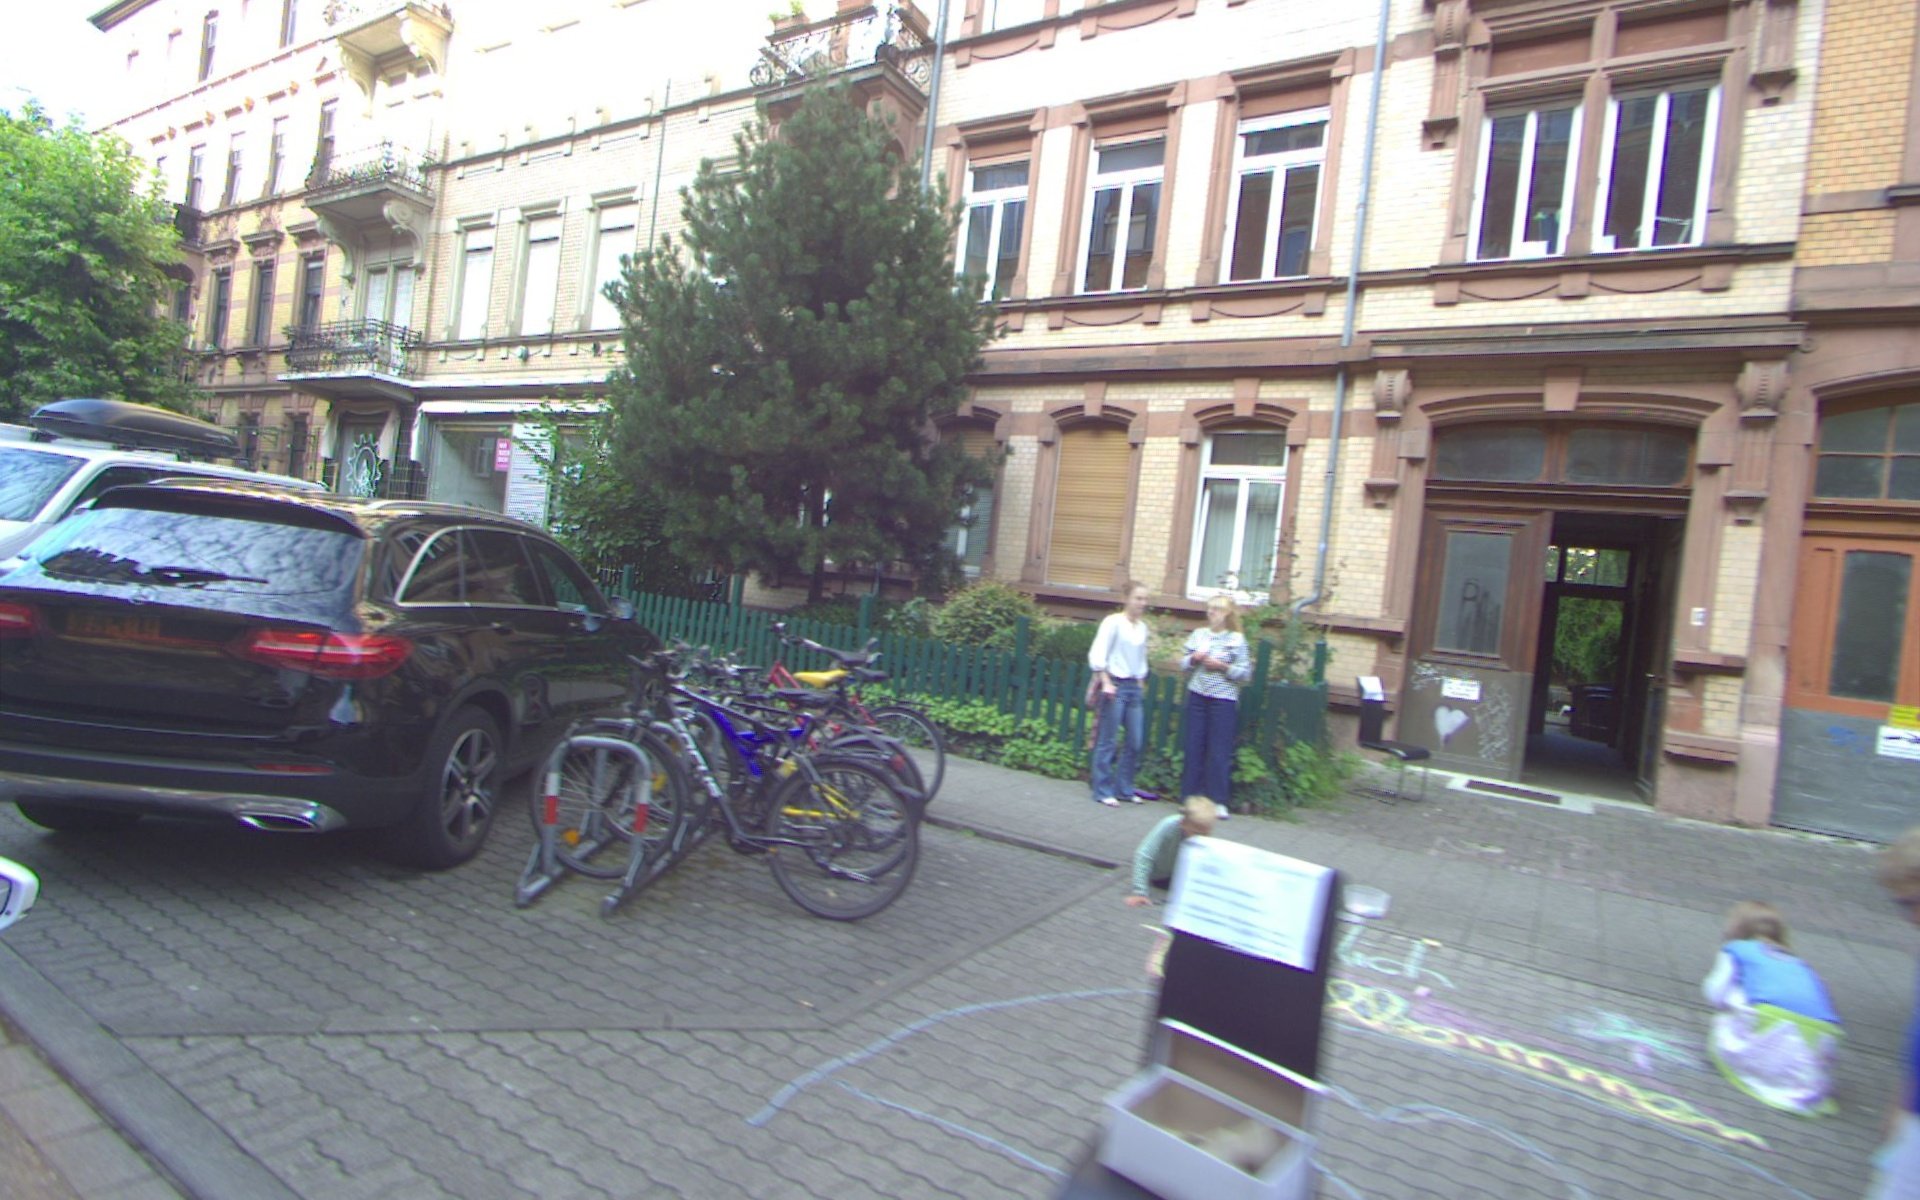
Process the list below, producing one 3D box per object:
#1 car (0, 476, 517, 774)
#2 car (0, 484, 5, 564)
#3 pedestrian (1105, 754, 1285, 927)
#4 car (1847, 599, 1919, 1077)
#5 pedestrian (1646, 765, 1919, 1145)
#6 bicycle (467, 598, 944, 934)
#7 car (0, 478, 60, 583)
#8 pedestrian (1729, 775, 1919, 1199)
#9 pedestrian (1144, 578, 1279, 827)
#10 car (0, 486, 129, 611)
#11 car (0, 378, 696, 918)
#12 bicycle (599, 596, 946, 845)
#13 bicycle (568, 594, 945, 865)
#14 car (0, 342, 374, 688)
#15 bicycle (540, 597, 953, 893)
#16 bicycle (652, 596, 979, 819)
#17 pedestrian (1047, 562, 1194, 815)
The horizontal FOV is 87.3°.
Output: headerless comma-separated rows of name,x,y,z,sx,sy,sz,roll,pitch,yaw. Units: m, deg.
car,-5.380,0.142,7.974,1.839,1.567,4.236,8,-1,-2
car,-17.234,-1.269,14.949,1.845,1.483,4.463,7,2,-2
pedestrian,1.185,1.187,5.119,0.485,0.672,0.691,4,2,-40
car,3.712,0.924,2.064,1.779,1.809,4.638,9,3,31
pedestrian,2.952,1.191,3.615,0.676,1.033,0.638,7,2,37
bicycle,-1.073,0.693,4.404,1.882,1.197,0.405,6,2,1
car,-14.814,-1.036,13.449,1.856,1.497,4.458,7,2,-7
pedestrian,1.993,1.048,2.005,0.499,1.269,0.471,5,4,8
pedestrian,1.842,0.728,7.353,0.622,1.679,0.574,7,0,32
car,-12.435,-0.704,12.218,1.721,1.478,3.986,6,1,-9
car,-3.106,0.184,5.826,1.964,1.753,4.457,8,-1,-2
bicycle,-1.061,0.678,5.858,1.833,1.197,0.405,6,2,1
bicycle,-1.063,0.670,5.404,1.833,1.197,0.405,6,2,1
car,-7.734,-0.693,8.931,1.882,2.436,5.157,6,0,-1
bicycle,-1.015,0.683,4.953,1.833,1.197,0.405,6,2,1
bicycle,-0.894,0.664,6.619,1.899,1.161,0.810,6,1,3
pedestrian,1.163,0.635,7.412,0.688,1.715,0.647,7,0,-11
